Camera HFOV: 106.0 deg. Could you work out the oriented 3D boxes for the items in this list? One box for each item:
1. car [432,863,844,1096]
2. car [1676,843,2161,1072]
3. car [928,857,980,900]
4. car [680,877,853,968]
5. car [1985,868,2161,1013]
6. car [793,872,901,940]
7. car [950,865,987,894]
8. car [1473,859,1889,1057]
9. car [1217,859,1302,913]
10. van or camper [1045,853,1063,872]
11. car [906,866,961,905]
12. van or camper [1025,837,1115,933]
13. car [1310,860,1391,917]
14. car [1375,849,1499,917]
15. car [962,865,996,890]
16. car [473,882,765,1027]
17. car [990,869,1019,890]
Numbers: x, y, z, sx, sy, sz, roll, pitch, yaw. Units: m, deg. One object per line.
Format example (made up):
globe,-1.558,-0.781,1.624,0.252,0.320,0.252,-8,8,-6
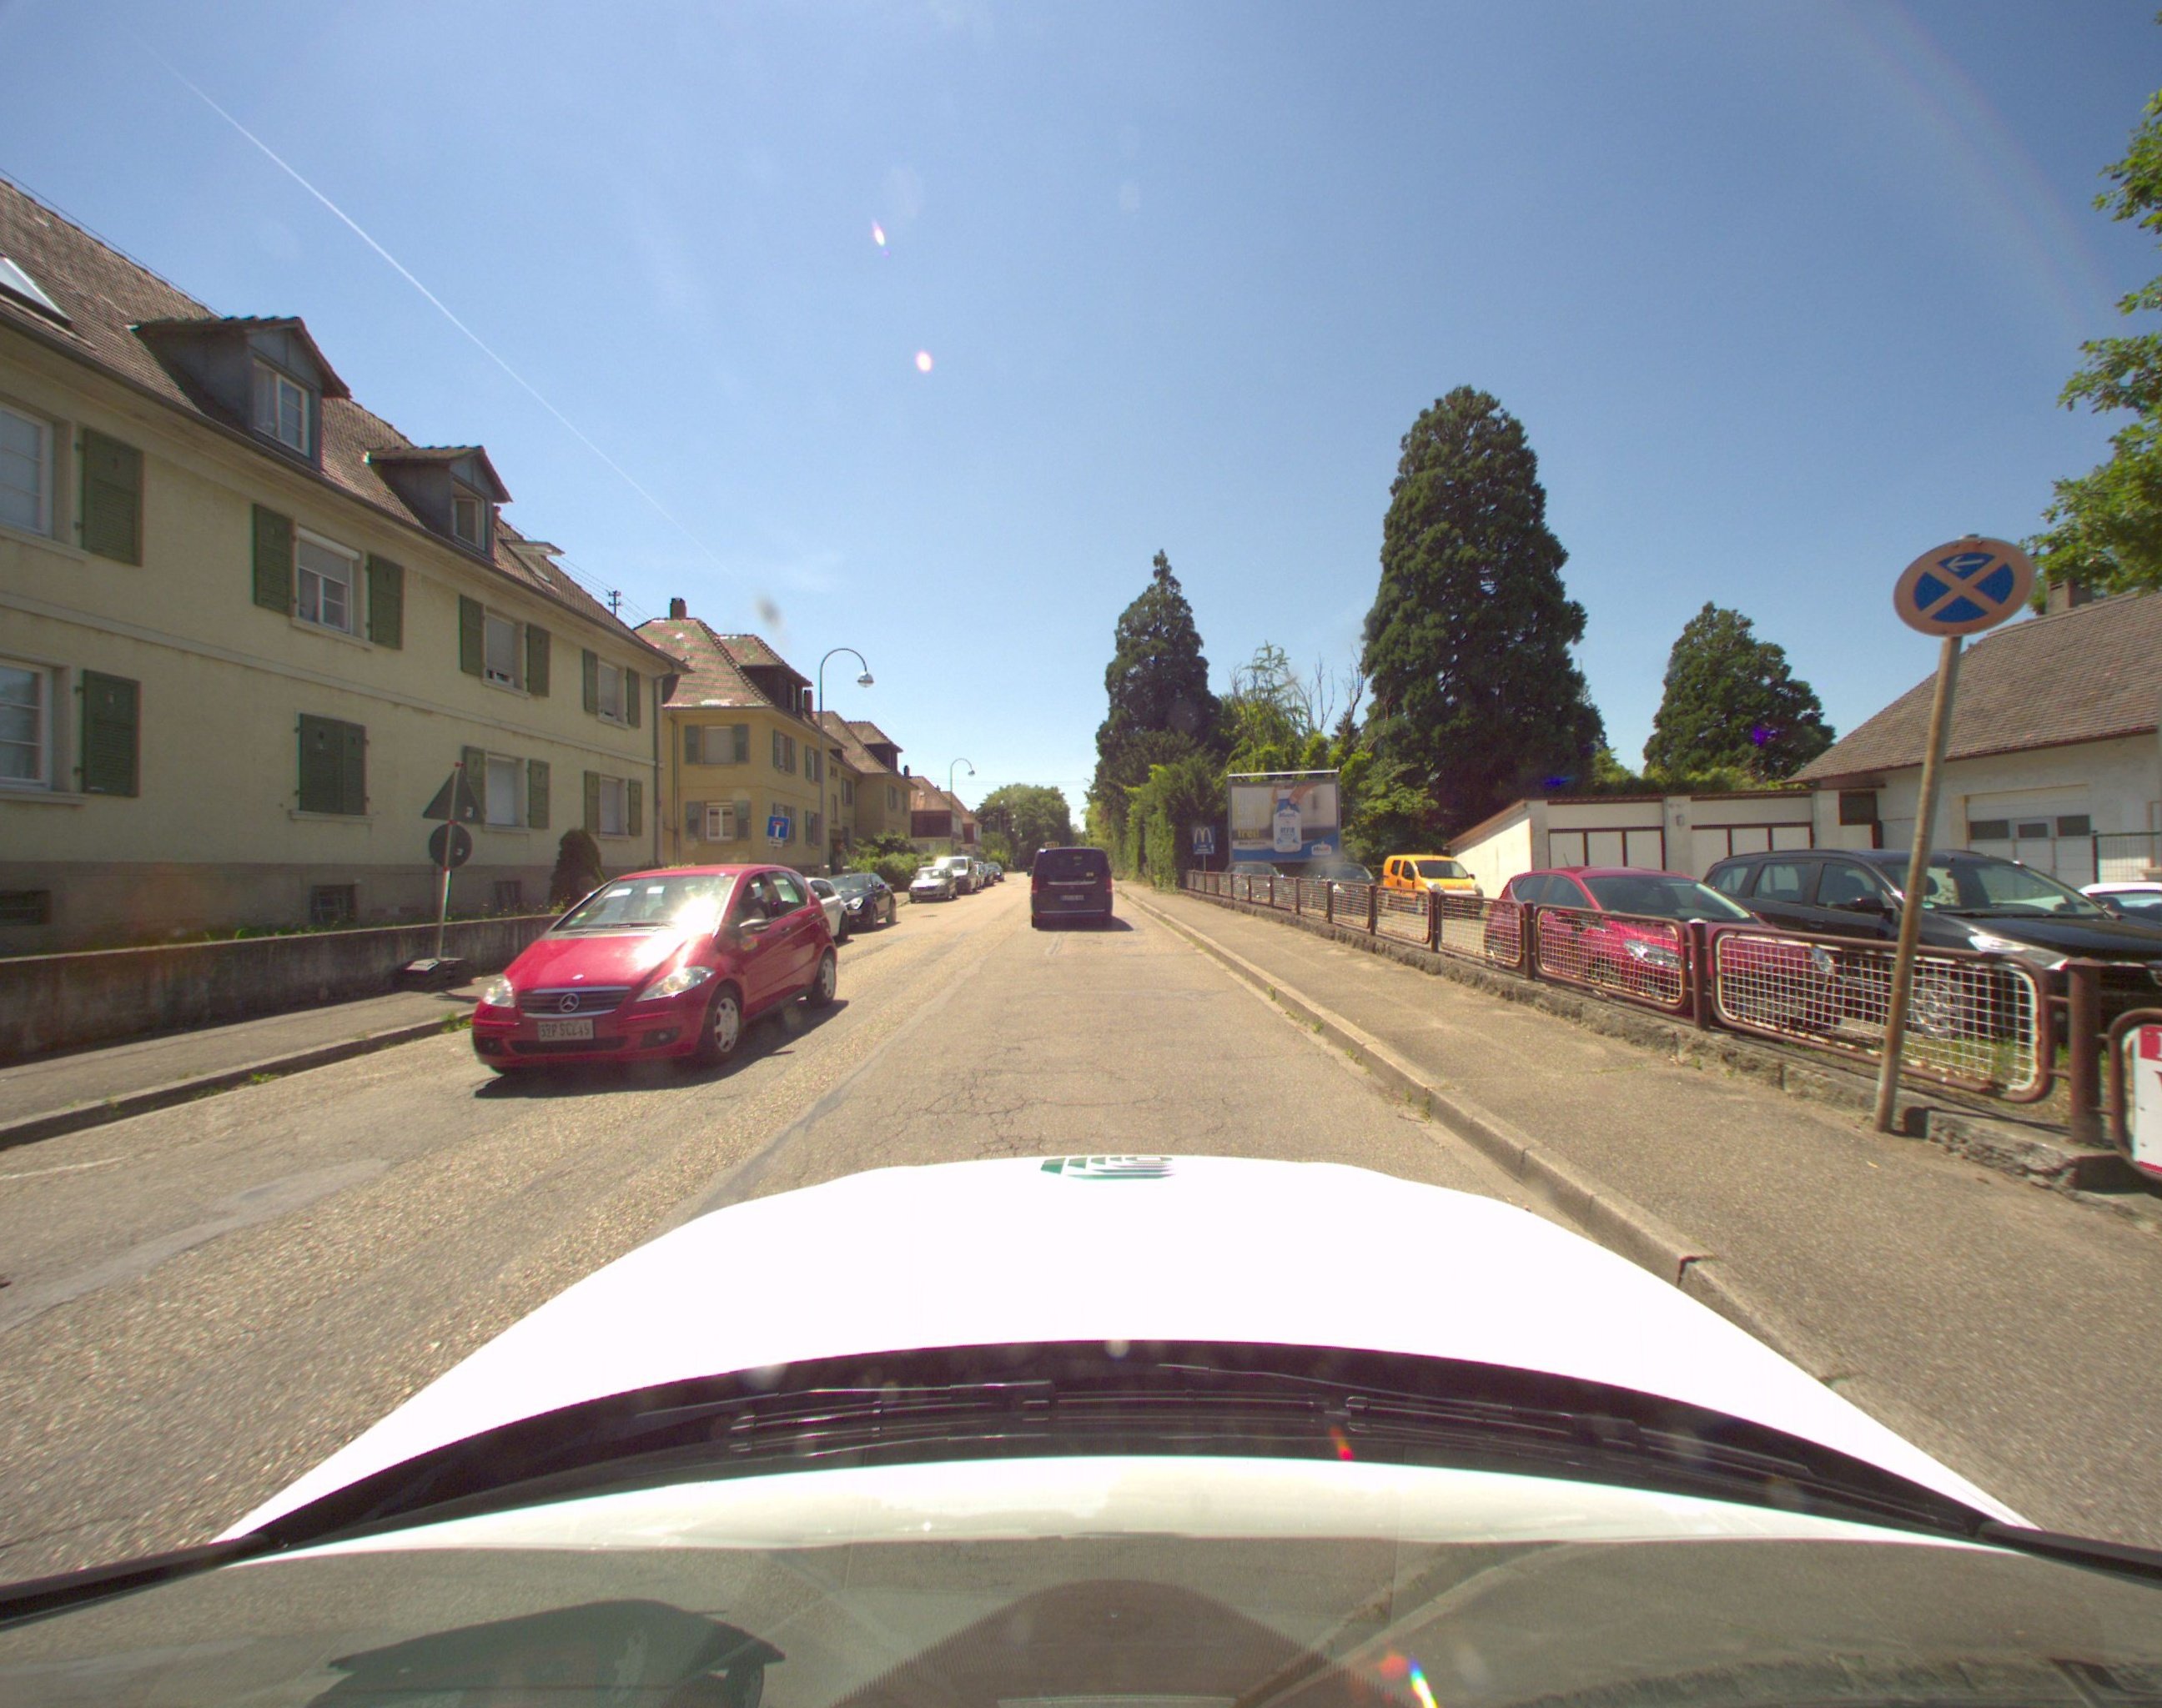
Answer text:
car,-3.687,0.911,7.638,1.809,1.566,3.695,-3,-1,-1
car,8.137,0.780,8.140,1.701,1.665,4.471,0,-1,9
car,-6.404,1.180,41.564,1.873,1.963,4.623,-4,0,-1
car,-5.896,1.212,15.847,1.790,1.402,4.215,-3,-1,-2
car,10.637,0.790,7.315,1.700,1.270,3.396,-1,-1,12
car,-5.975,1.273,21.264,1.711,1.485,4.072,-3,-1,-2
car,-6.486,1.437,47.172,1.661,1.492,3.476,-4,0,-1
car,5.586,0.847,8.281,1.702,1.523,3.847,-2,-1,7
car,5.348,0.936,24.838,1.627,1.459,3.552,2,-1,-3
van or camper,-3.739,1.201,113.223,2.258,2.528,4.753,-3,-1,-3
car,-6.359,1.331,35.499,1.682,1.525,4.060,-1,0,-2
van or camper,-0.273,0.694,20.007,1.897,2.014,5.267,0,-1,-1
car,8.086,1.011,24.710,1.623,1.543,3.398,2,-1,6
car,10.461,0.826,24.278,1.770,1.800,4.163,2,-1,-1
car,-6.433,1.456,51.880,1.661,1.493,4.463,-1,0,-1
car,-5.915,1.179,11.045,1.755,1.447,3.921,-3,-1,-2
car,-5.720,1.895,61.285,1.661,1.386,4.379,-3,0,0
